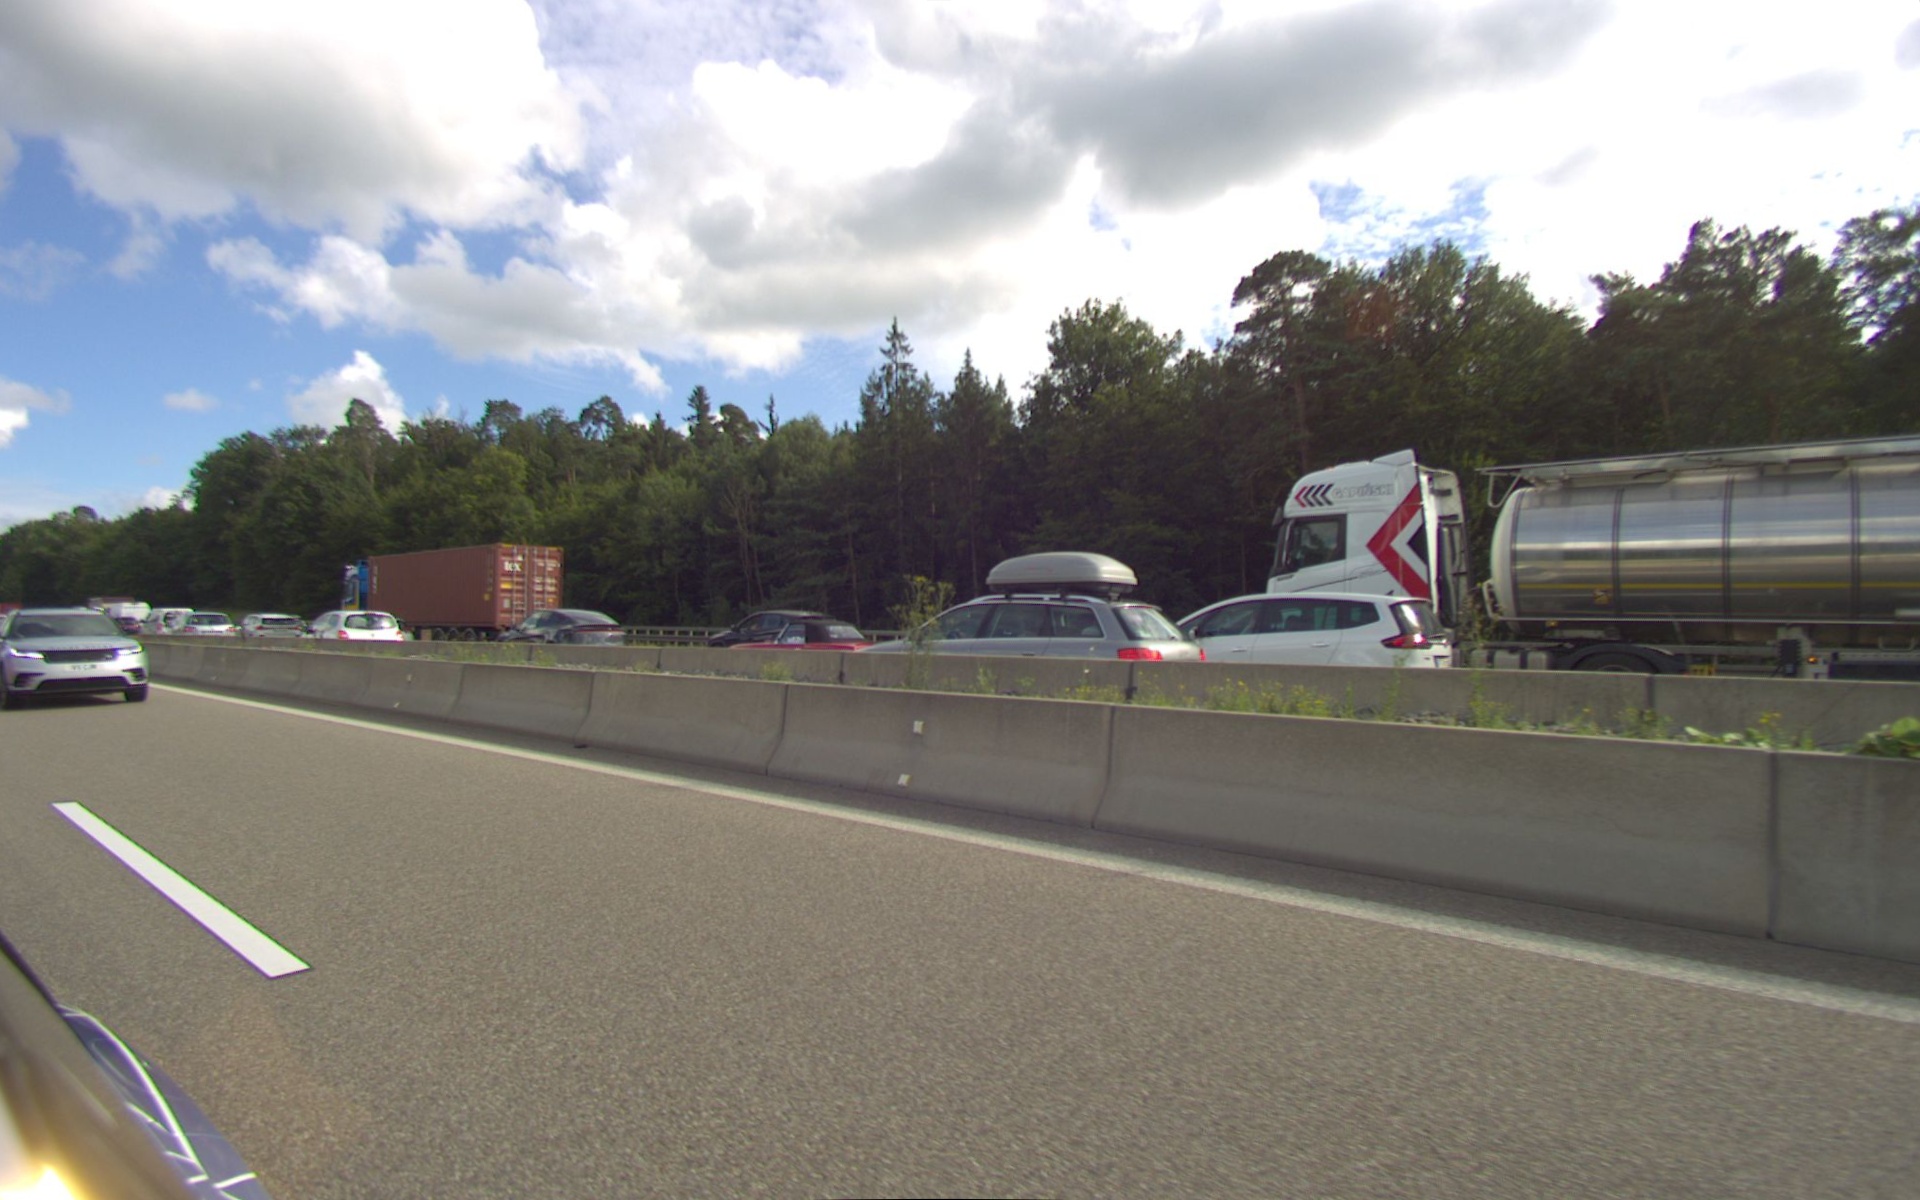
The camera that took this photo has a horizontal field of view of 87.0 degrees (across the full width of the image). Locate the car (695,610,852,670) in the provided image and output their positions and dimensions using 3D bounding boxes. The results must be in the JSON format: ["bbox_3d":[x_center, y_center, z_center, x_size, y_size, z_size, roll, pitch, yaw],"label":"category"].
[{"bbox_3d":[-4.967,1.011,26.631,4.387,1.447,1.672,-1,-1,40],"label":"car"}]

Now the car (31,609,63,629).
[{"bbox_3d":[-95.129,2.003,105.441,3.998,2.029,1.973,-1,-1,41],"label":"car"}]

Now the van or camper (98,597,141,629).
[{"bbox_3d":[-84.613,1.296,101.807,5.206,3.170,2.569,-1,-1,41],"label":"van or camper"}]

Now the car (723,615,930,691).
[{"bbox_3d":[-2.783,1.020,20.434,4.326,1.362,1.672,-1,-1,40],"label":"car"}]

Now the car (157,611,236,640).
[{"bbox_3d":[-28.061,0.941,37.137,3.998,1.006,1.555,-1,-1,41],"label":"car"}]

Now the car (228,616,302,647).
[{"bbox_3d":[-31.307,1.399,45.551,3.998,1.288,1.853,-1,-1,41],"label":"car"}]

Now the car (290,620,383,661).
[{"bbox_3d":[-22.960,1.448,37.200,4.388,1.408,1.671,-1,-1,40],"label":"car"}]

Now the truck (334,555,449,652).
[{"bbox_3d":[-25.224,0.187,44.844,5.149,4.016,2.925,-1,-1,41],"label":"truck"}]

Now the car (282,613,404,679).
[{"bbox_3d":[-15.977,1.144,26.130,3.997,1.573,1.496,-1,-1,40],"label":"car"}]

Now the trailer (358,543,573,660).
[{"bbox_3d":[-19.942,0.100,40.159,12.886,4.013,2.919,-1,0,41],"label":"trailer"}]

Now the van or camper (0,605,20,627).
[{"bbox_3d":[-143.888,2.417,152.234,6.881,3.170,2.918,-1,-1,41],"label":"van or camper"}]

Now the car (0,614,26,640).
[{"bbox_3d":[-68.987,1.951,73.020,3.998,1.863,1.973,-1,-1,41],"label":"car"}]

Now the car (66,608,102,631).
[{"bbox_3d":[-80.123,1.811,92.527,3.998,2.029,1.973,-1,-1,41],"label":"car"}]

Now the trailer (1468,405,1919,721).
[{"bbox_3d":[12.765,-0.433,11.421,12.226,3.524,2.919,-1,0,41],"label":"trailer"}]

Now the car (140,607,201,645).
[{"bbox_3d":[-44.059,1.404,56.454,3.998,2.029,1.973,-1,0,41],"label":"car"}]

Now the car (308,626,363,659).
[{"bbox_3d":[-41.231,2.792,66.769,3.998,2.029,1.973,-1,0,41],"label":"car"}]

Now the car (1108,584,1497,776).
[{"bbox_3d":[4.355,0.920,13.296,4.475,2.122,1.798,-1,-1,40],"label":"car"}]

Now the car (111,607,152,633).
[{"bbox_3d":[-67.285,1.647,82.149,3.998,2.029,1.973,-1,-1,41],"label":"car"}]

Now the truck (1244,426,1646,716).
[{"bbox_3d":[7.556,-0.336,16.003,5.107,3.775,2.926,-1,-1,41],"label":"truck"}]

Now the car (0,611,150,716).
[{"bbox_3d":[-16.322,1.070,18.231,5.103,1.619,1.880,-2,-1,42],"label":"car"}]

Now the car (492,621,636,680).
[{"bbox_3d":[-10.495,1.289,26.672,4.388,1.408,1.671,-1,-1,40],"label":"car"}]

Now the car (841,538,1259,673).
[{"bbox_3d":[0.797,0.089,10.850,4.353,1.182,1.579,-1,-1,40],"label":"car"}]
